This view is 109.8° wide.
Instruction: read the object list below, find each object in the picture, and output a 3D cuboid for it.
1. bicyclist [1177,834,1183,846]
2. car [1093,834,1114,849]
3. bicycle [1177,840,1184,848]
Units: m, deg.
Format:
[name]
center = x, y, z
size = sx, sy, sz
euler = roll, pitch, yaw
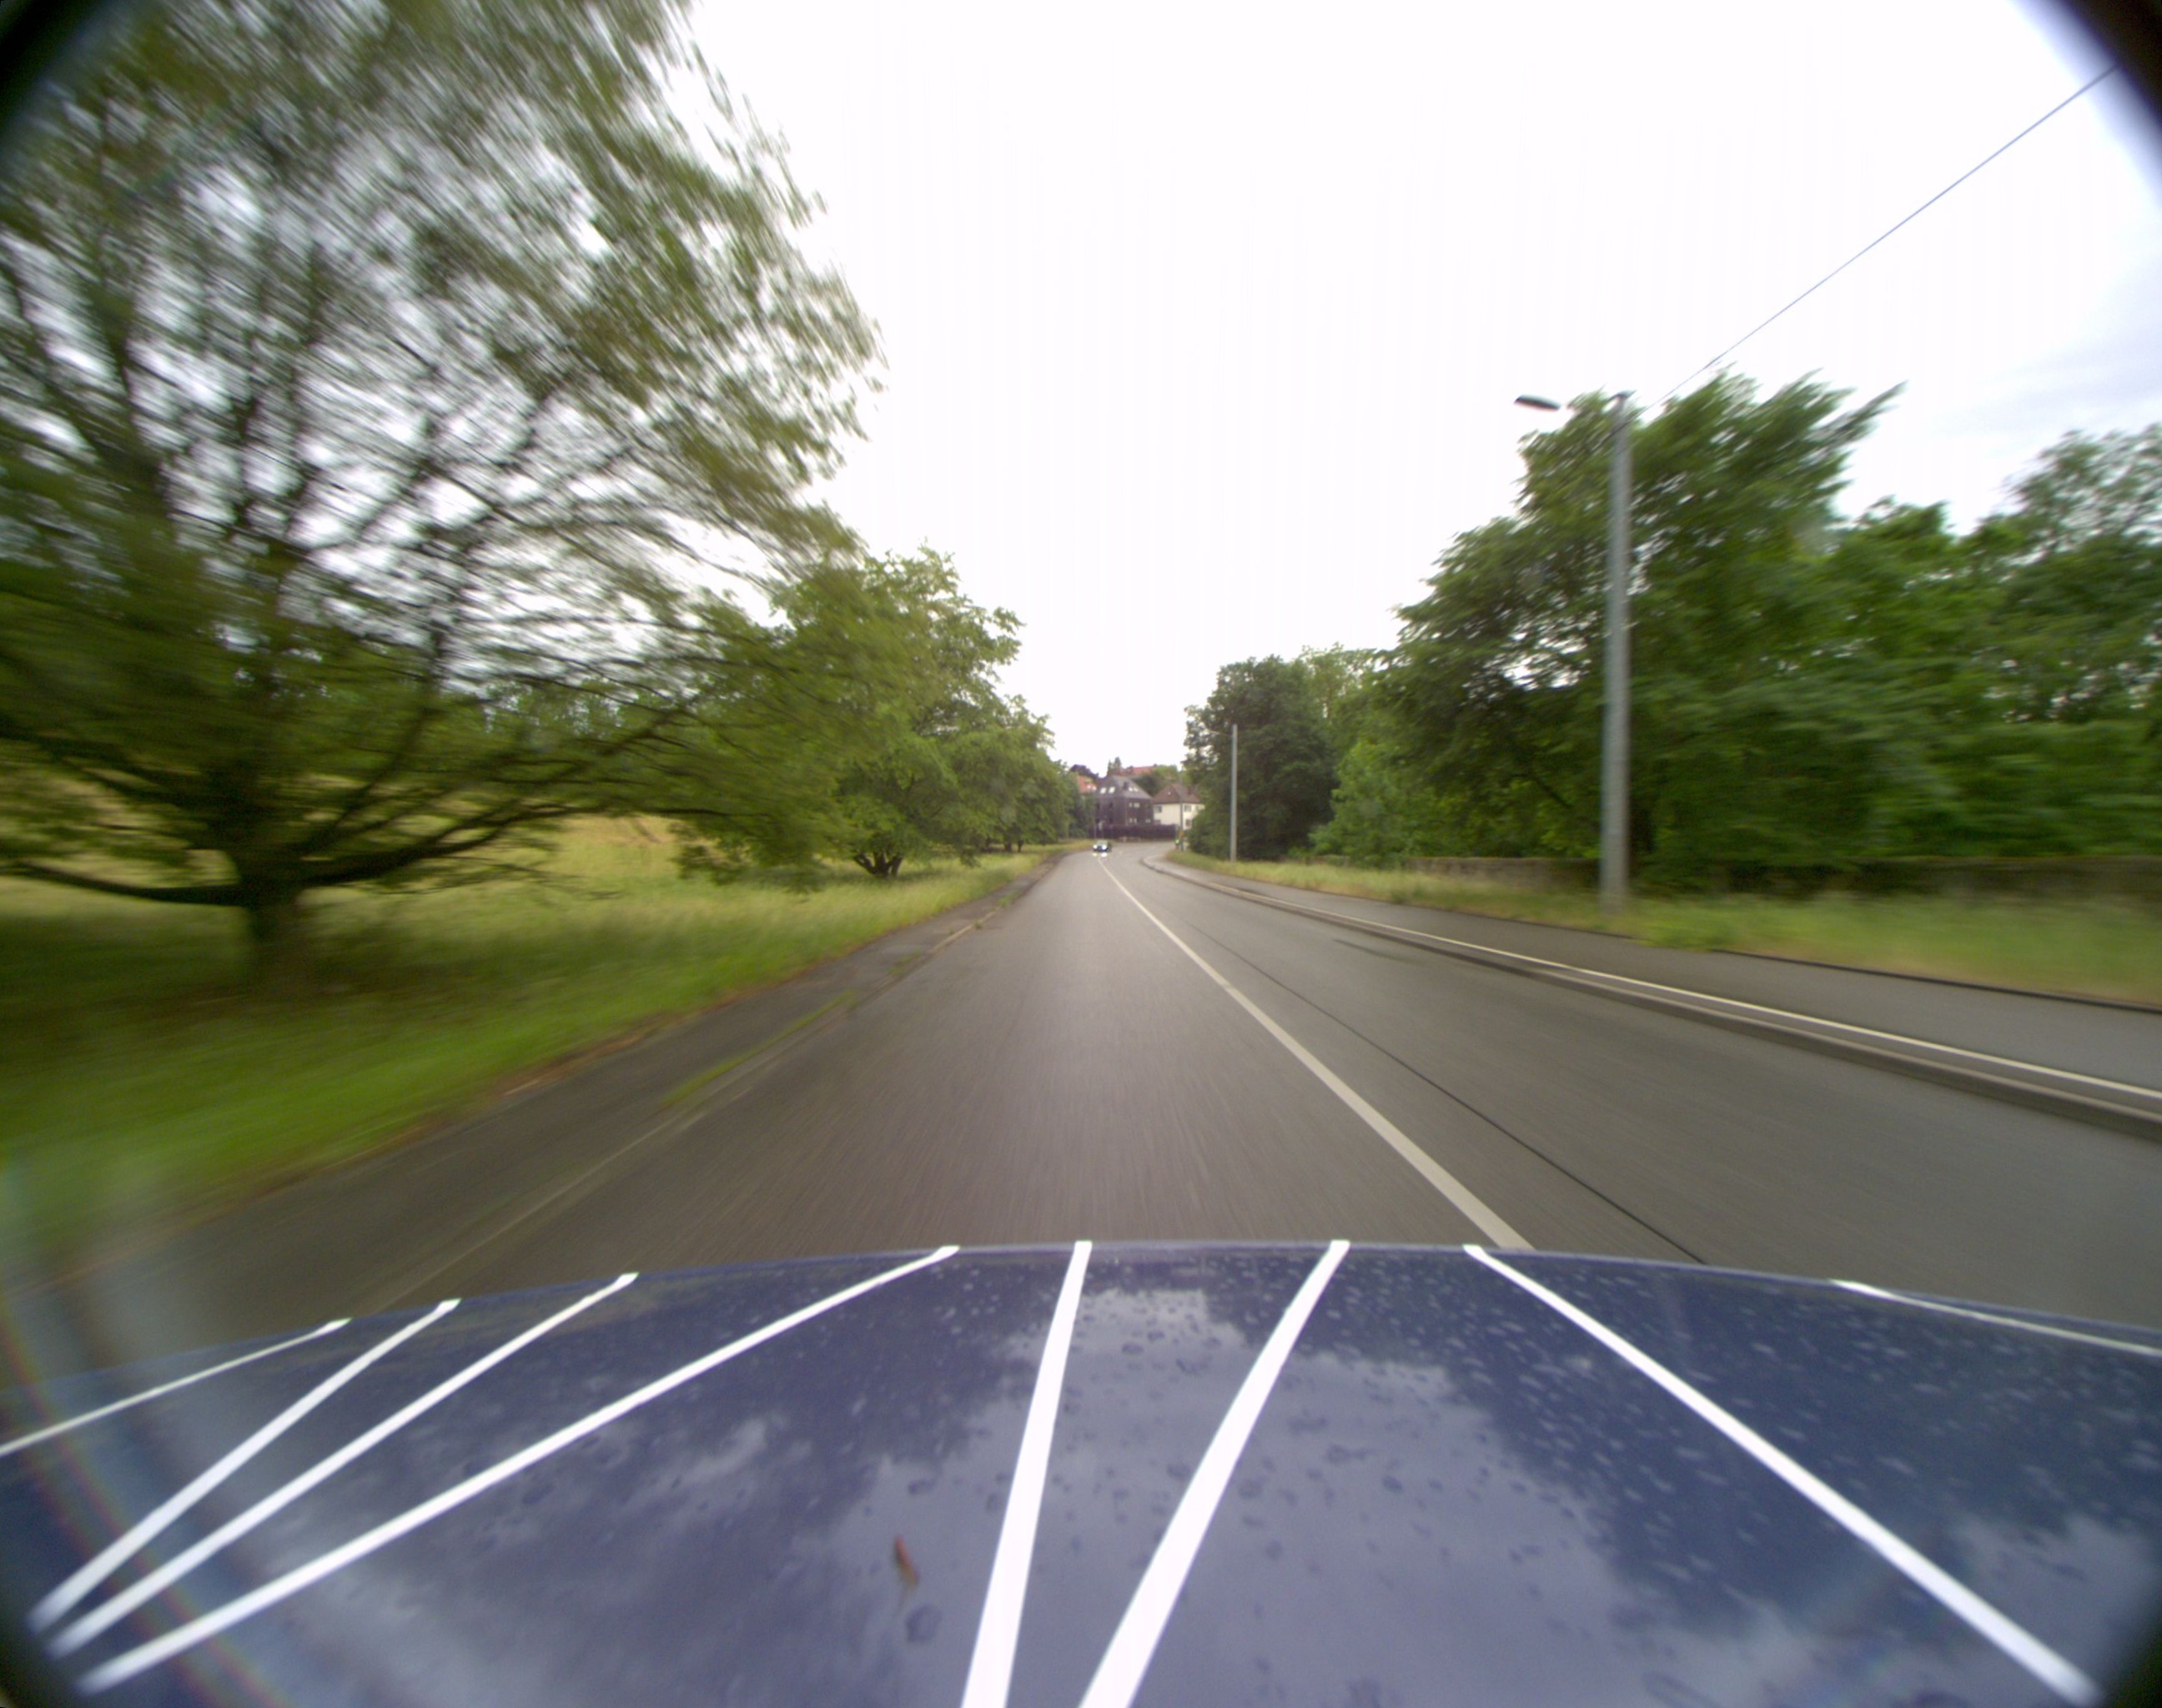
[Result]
[bicyclist]
center = 13.070, -1.803, 99.913
size = 0.710, 1.547, 1.171
euler = -2, 2, 9
[car]
center = 2.912, -1.680, 98.452
size = 1.997, 1.708, 4.001
euler = -1, 4, 11
[bicycle]
center = 13.103, -1.361, 100.074
size = 0.725, 0.936, 2.552
euler = -2, 1, 10
